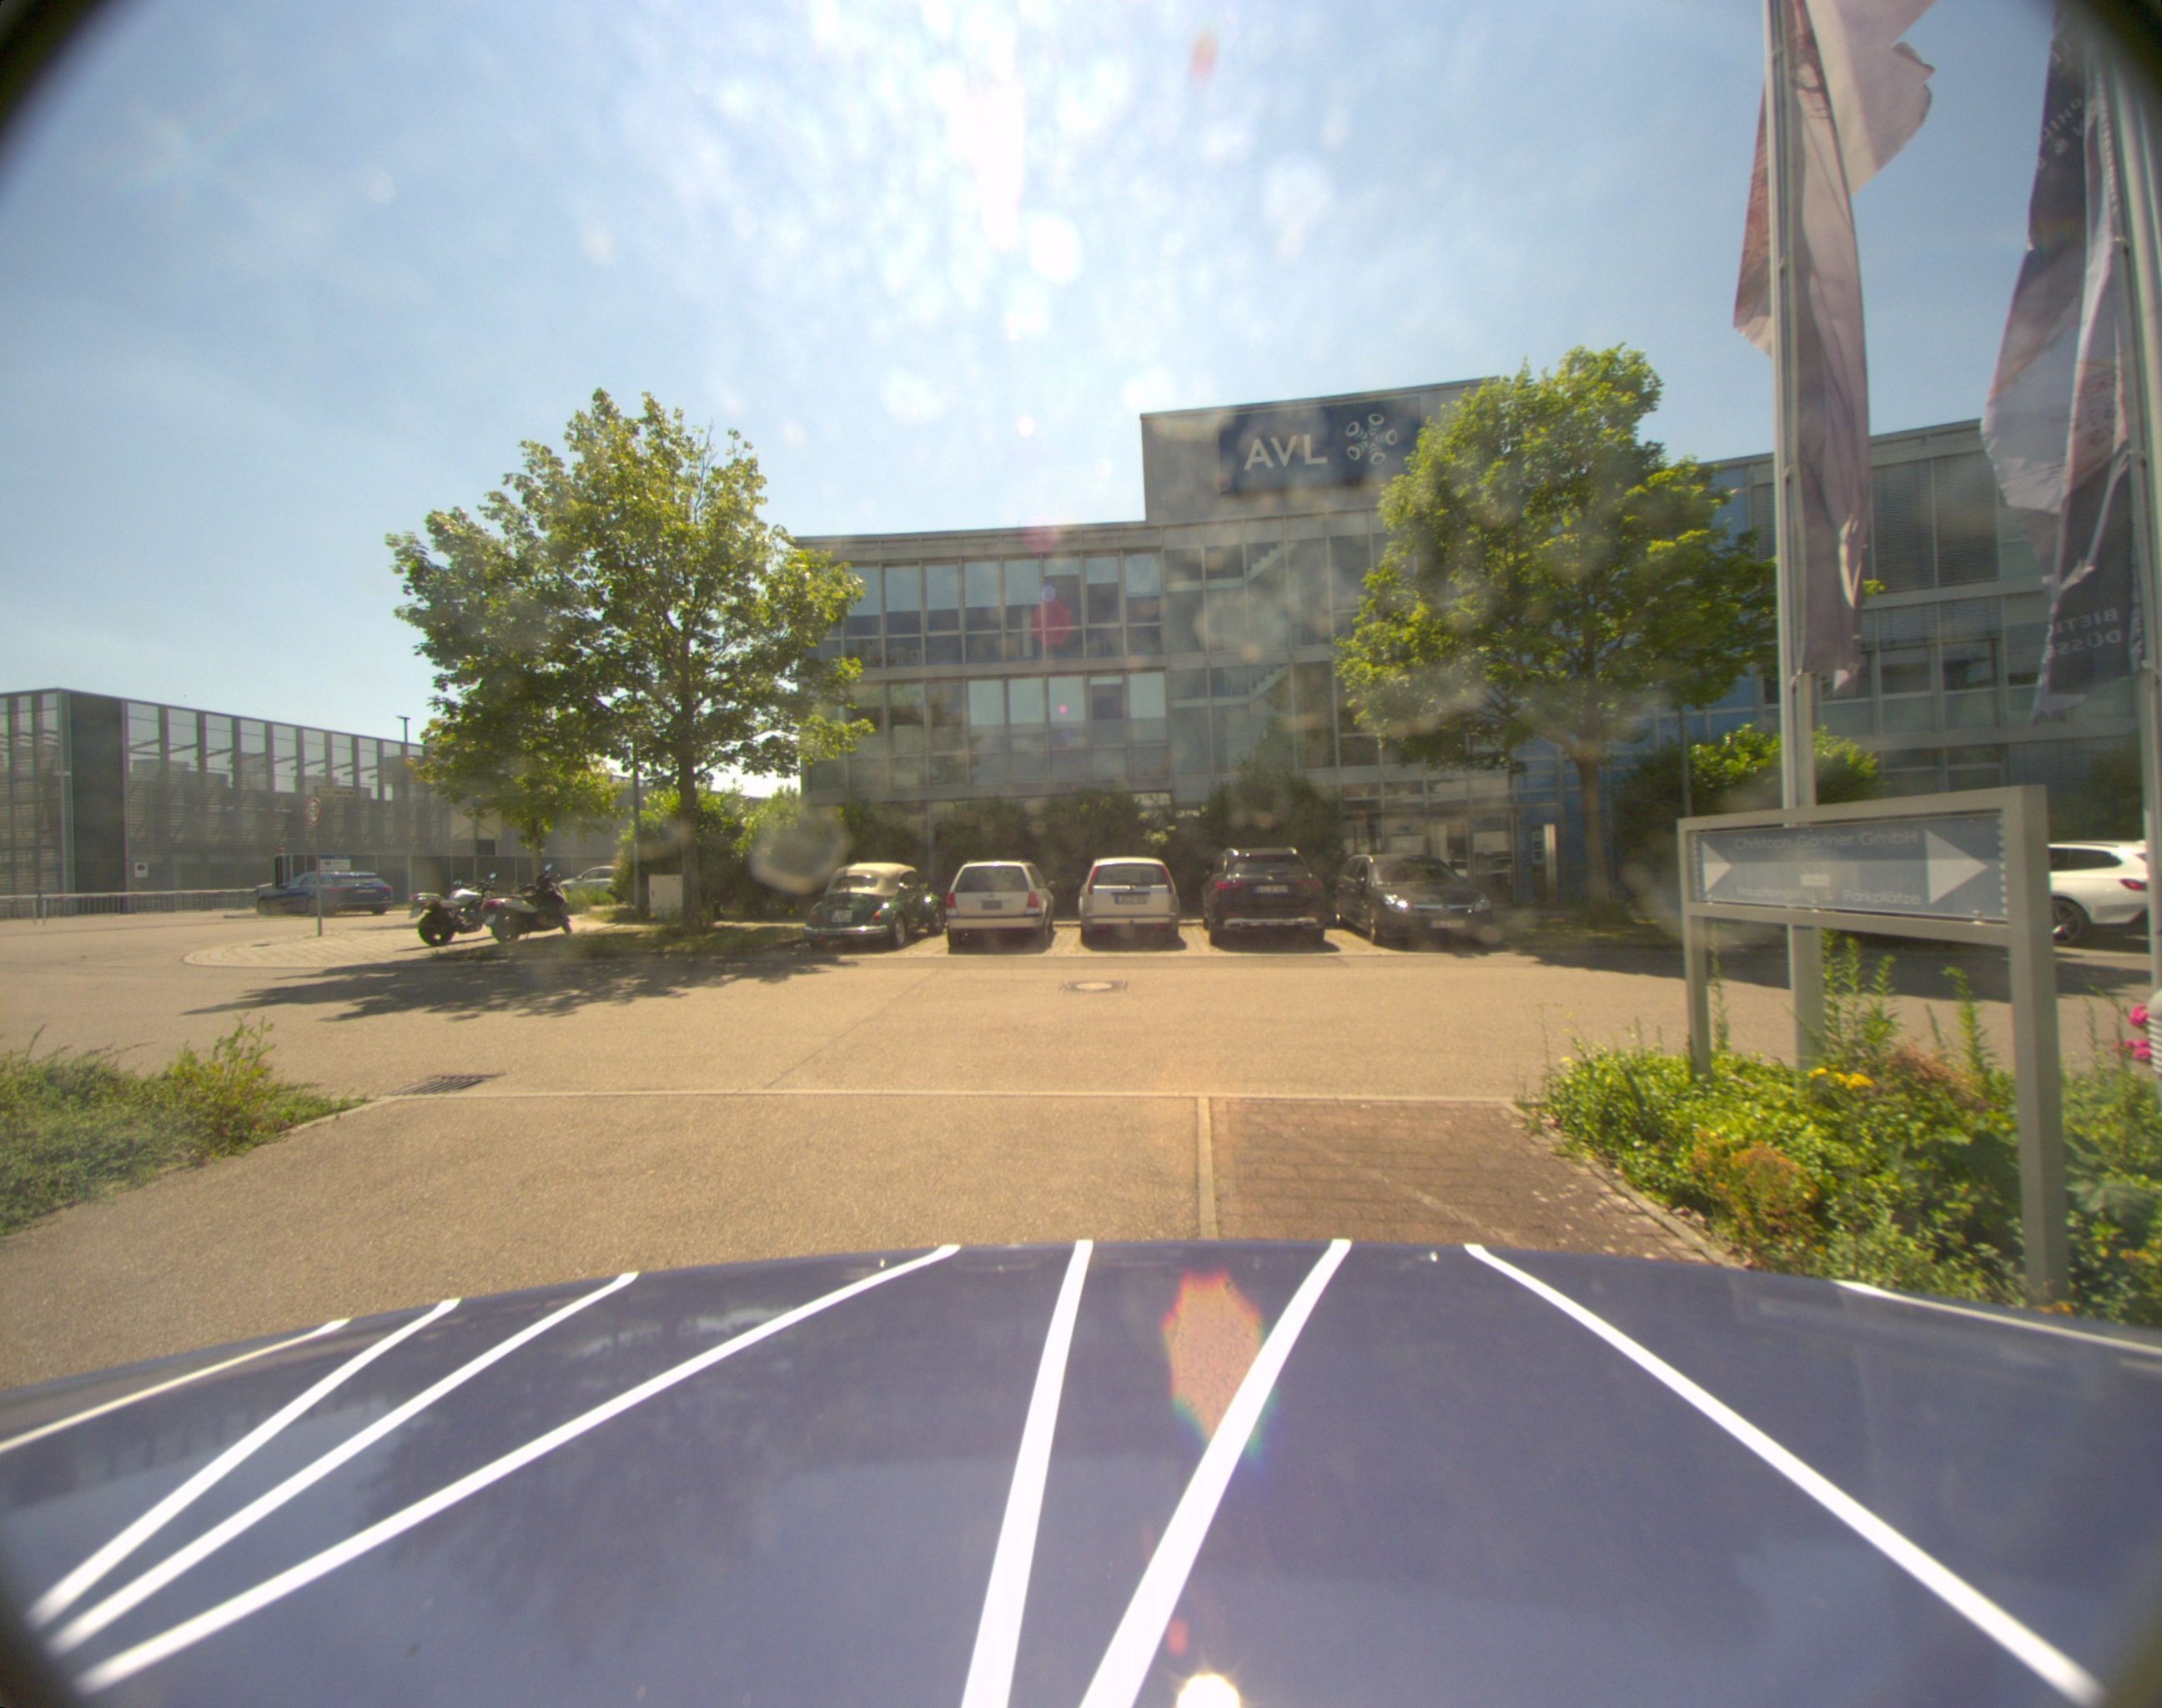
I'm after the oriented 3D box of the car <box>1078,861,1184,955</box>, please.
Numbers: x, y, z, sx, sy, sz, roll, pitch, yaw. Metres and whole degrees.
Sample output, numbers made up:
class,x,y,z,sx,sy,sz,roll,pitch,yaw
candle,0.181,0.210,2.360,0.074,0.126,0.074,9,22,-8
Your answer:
class,x,y,z,sx,sy,sz,roll,pitch,yaw
car,0.846,0.906,14.279,1.731,1.444,3.600,-1,1,1

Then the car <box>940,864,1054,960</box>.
class,x,y,z,sx,sy,sz,roll,pitch,yaw
car,-1.400,0.953,13.931,1.642,1.444,3.600,0,1,1

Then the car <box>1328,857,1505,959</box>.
class,x,y,z,sx,sy,sz,roll,pitch,yaw
car,5.757,0.830,13.641,1.729,1.475,4.399,-1,0,8

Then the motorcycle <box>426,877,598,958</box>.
class,x,y,z,sx,sy,sz,roll,pitch,yaw
motorcycle,-10.628,1.131,14.396,0.873,1.252,2.836,-1,1,6

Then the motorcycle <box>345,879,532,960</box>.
class,x,y,z,sx,sy,sz,roll,pitch,yaw
motorcycle,-11.972,1.167,14.352,0.873,1.252,2.836,-1,1,6

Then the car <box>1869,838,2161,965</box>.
class,x,y,z,sx,sy,sz,roll,pitch,yaw
car,15.034,0.592,11.748,1.831,1.628,4.174,-1,0,9

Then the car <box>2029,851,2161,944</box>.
class,x,y,z,sx,sy,sz,roll,pitch,yaw
car,17.402,0.666,11.334,1.750,1.392,4.174,-1,0,9

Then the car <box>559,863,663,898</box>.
class,x,y,z,sx,sy,sz,roll,pitch,yaw
car,-21.296,1.198,34.447,4.404,1.467,1.783,-1,0,24

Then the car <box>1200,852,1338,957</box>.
class,x,y,z,sx,sy,sz,roll,pitch,yaw
car,3.231,0.795,13.819,1.937,1.593,3.861,-1,1,6

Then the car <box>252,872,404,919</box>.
class,x,y,z,sx,sy,sz,roll,pitch,yaw
car,-25.024,1.362,25.268,4.436,1.401,1.862,-1,0,21

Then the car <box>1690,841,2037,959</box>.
class,x,y,z,sx,sy,sz,roll,pitch,yaw
car,12.515,0.633,12.636,1.831,1.628,4.173,-1,0,7

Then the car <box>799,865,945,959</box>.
class,x,y,z,sx,sy,sz,roll,pitch,yaw
car,-3.692,0.966,14.036,1.521,1.437,3.420,0,1,4
